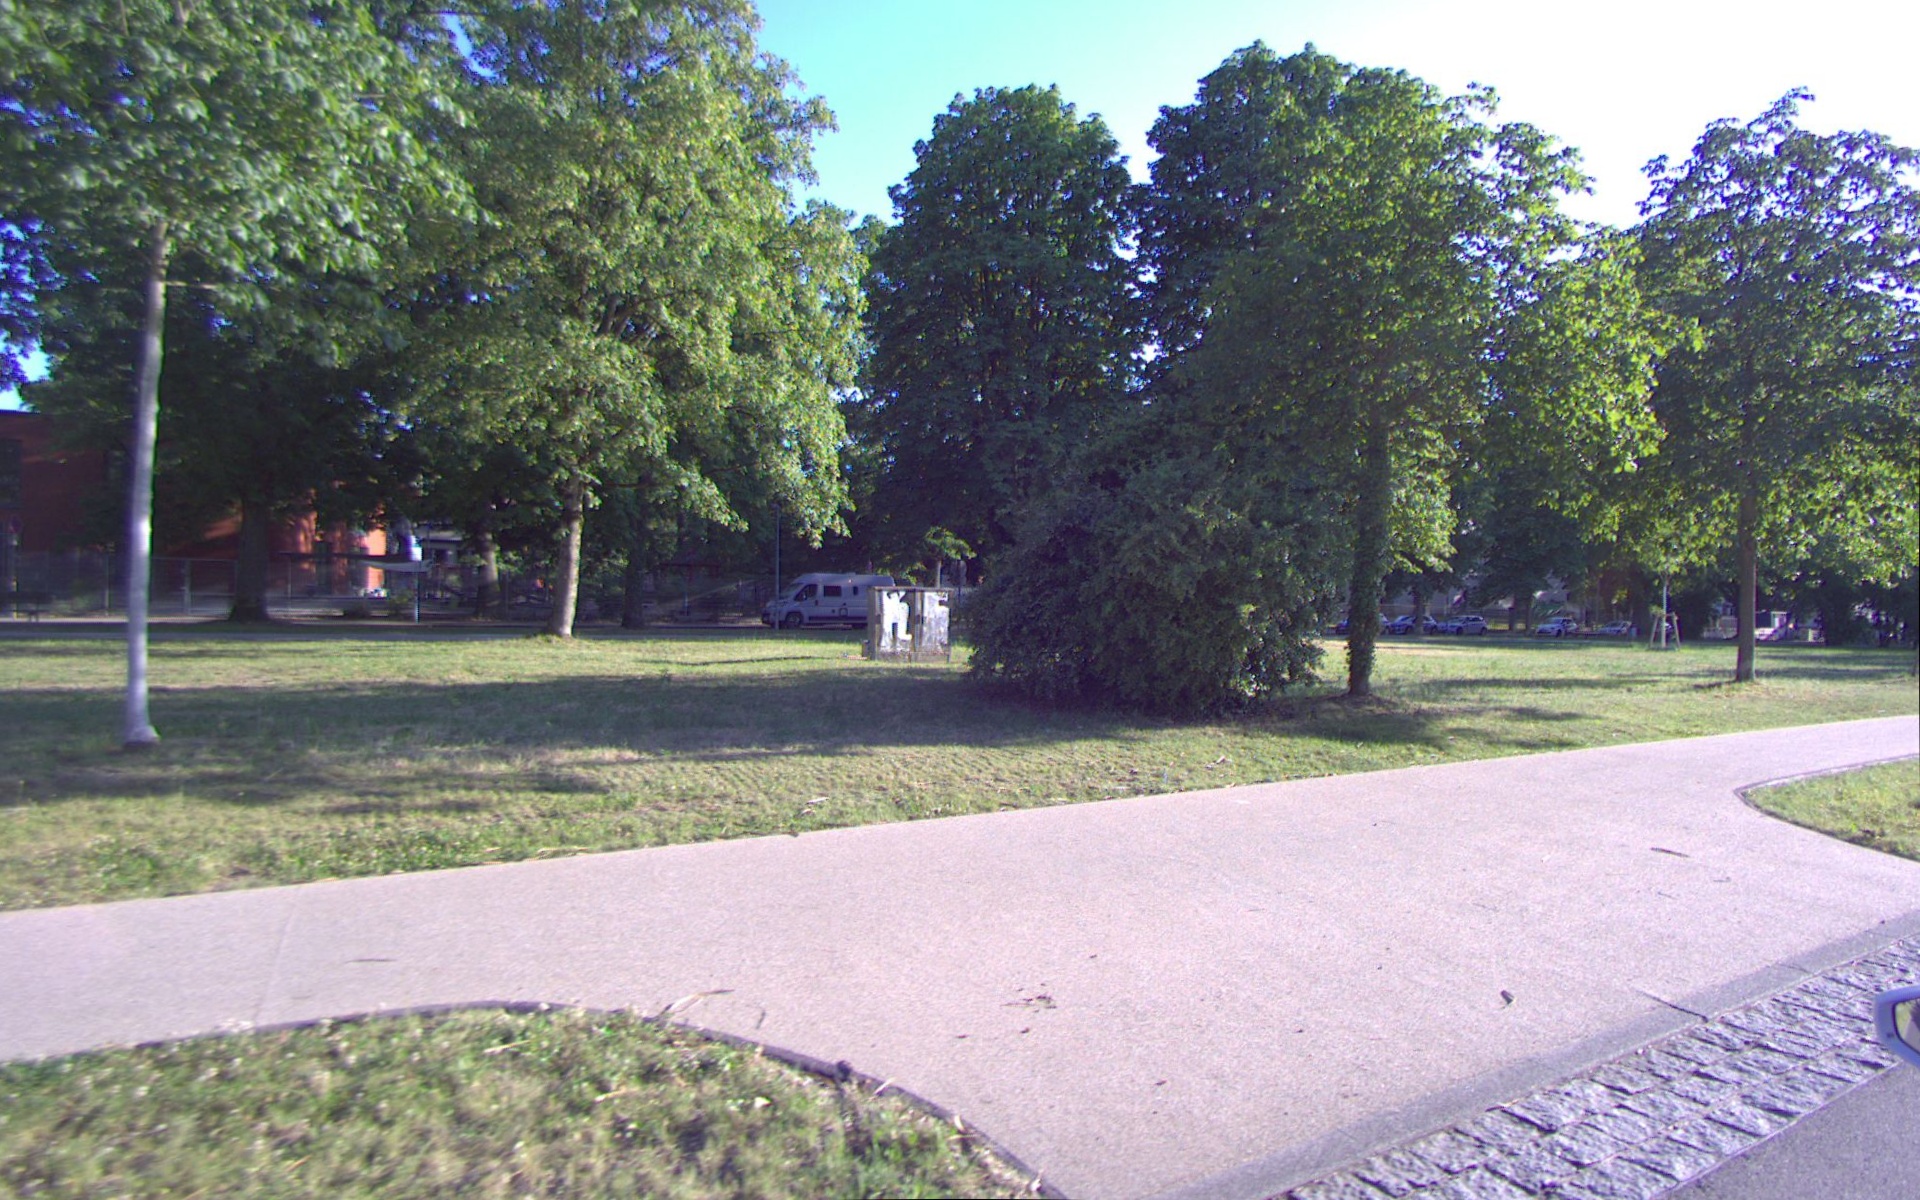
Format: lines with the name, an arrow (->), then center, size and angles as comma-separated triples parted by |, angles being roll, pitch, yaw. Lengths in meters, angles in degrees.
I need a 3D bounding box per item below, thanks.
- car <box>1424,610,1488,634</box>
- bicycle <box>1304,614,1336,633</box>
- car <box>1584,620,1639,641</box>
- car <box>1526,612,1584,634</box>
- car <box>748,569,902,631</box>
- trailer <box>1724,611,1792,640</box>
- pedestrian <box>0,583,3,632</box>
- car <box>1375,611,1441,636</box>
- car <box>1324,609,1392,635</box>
car -> 33.848, 1.519, 68.507 | 4.066, 1.528, 1.984 | 2, -1, -30
bicycle -> 23.024, 1.499, 64.168 | 2.309, 1.191, 0.653 | 2, -1, -34
car -> 51.251, 2.380, 78.979 | 4.066, 1.528, 1.984 | 2, -1, -30
car -> 44.288, 1.735, 74.795 | 4.066, 1.528, 1.984 | 2, -1, -30
car -> -6.009, 0.042, 44.879 | 6.248, 2.496, 2.706 | 2, -1, -32
trailer -> 72.753, 2.320, 91.576 | 6.966, 2.522, 2.448 | 2, -1, -30
pedestrian -> -19.622, 0.141, 20.019 | 0.601, 1.000, 0.547 | 2, -1, -20
car -> 29.496, 1.548, 66.119 | 3.953, 1.528, 1.984 | 2, -1, -30
car -> 25.203, 1.386, 63.629 | 3.953, 1.528, 1.984 | 2, -1, -30
